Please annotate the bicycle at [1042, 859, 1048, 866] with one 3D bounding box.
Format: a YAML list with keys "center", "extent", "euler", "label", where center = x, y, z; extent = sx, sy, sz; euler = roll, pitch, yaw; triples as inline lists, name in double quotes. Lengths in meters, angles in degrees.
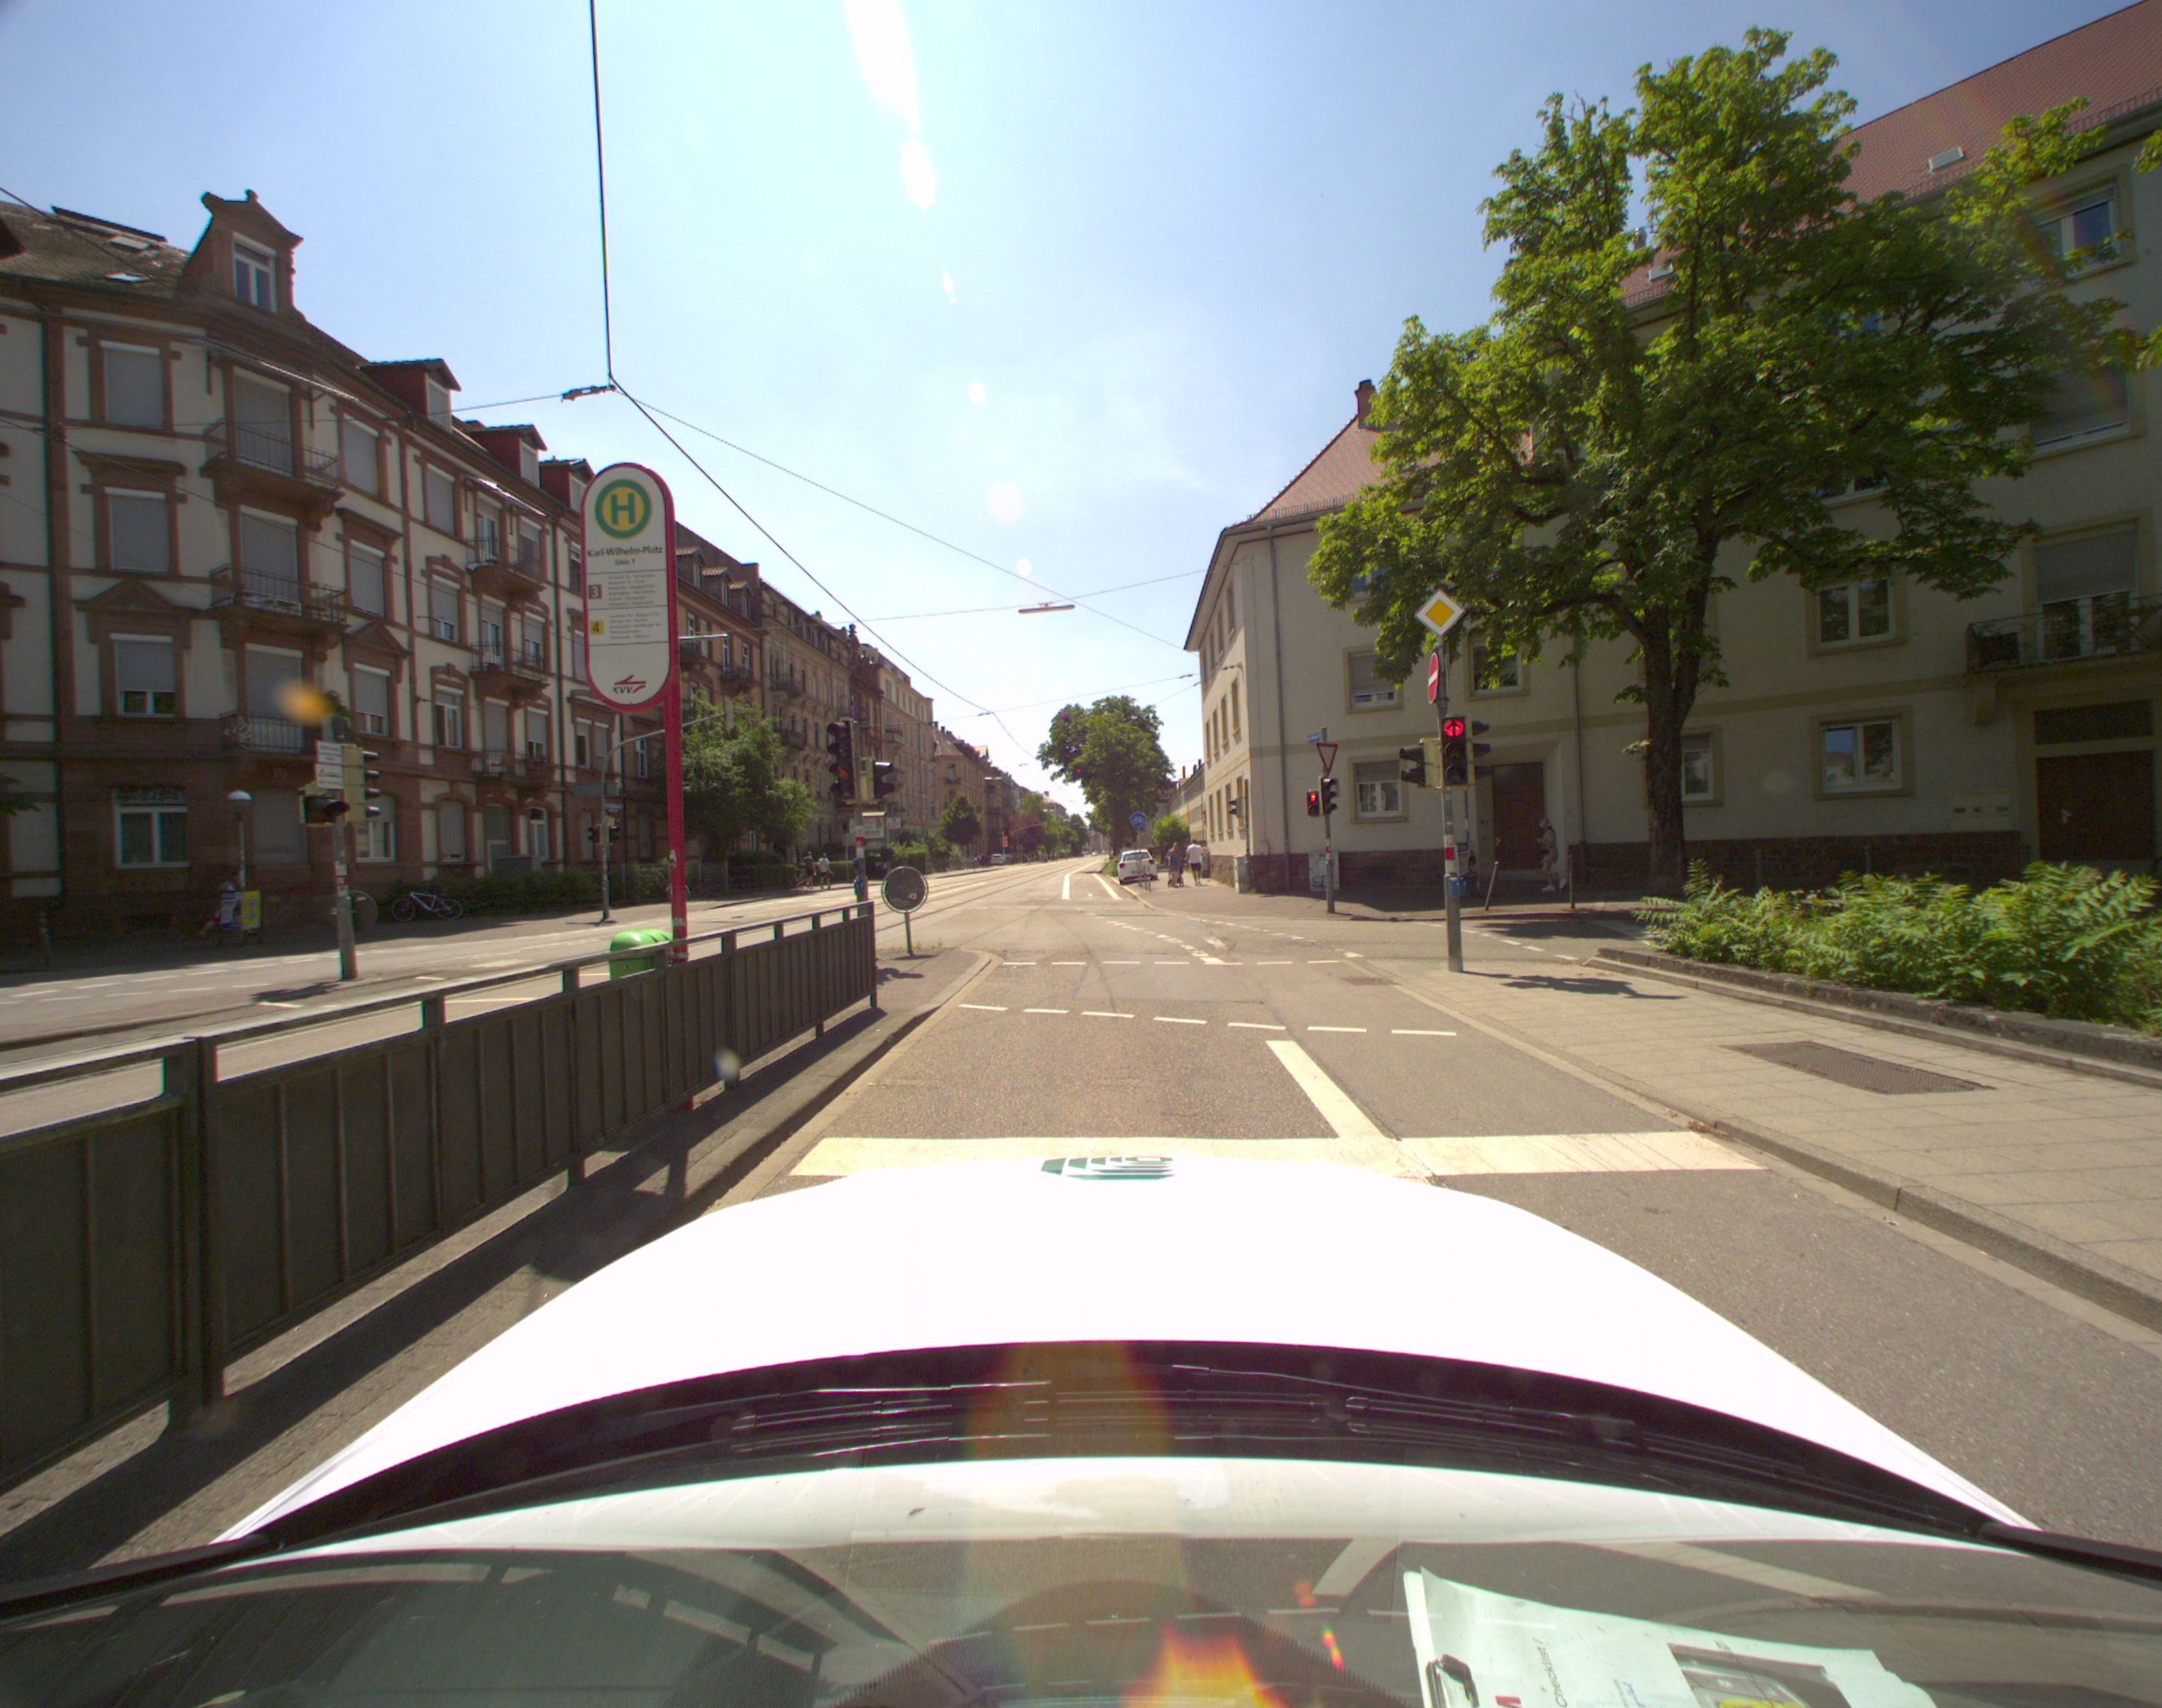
- center: [-5.838, 1.297, 131.569]
  extent: [0.724, 1.123, 2.087]
  euler: [0, -1, 4]
  label: "bicycle"

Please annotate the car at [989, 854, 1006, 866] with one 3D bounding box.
- center: [-11.886, 0.811, 116.055]
  extent: [1.912, 1.715, 4.001]
  euler: [0, -1, 2]
  label: "car"

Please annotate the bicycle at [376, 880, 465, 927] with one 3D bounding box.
- center: [-19.555, 1.442, 24.150]
  extent: [0.557, 1.294, 1.975]
  euler: [-1, -1, 43]
  label: "bicycle"

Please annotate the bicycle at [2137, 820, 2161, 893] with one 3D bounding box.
- center: [17.011, 0.023, 12.076]
  extent: [0.527, 1.104, 1.589]
  euler: [-2, 0, -34]
  label: "bicycle"

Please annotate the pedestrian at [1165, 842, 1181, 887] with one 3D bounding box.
- center: [3.364, 0.383, 29.742]
  extent: [0.554, 1.645, 0.678]
  euler: [0, -1, 5]
  label: "pedestrian"

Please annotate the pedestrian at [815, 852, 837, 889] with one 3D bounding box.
- center: [-13.010, 0.837, 41.546]
  extent: [0.813, 1.822, 0.873]
  euler: [0, 1, -1]
  label: "pedestrian"

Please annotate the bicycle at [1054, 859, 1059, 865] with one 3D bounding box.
- center: [-4.632, 1.457, 153.996]
  extent: [0.724, 1.123, 2.087]
  euler: [0, -1, 4]
  label: "bicycle"

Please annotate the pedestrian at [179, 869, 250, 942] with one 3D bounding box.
- center: [-21.313, 1.249, 20.051]
  extent: [1.067, 1.689, 0.714]
  euler: [-2, 0, -39]
  label: "pedestrian"

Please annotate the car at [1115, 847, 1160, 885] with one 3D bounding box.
- center: [2.524, 0.533, 37.399]
  extent: [1.808, 1.516, 4.001]
  euler: [-4, -1, 2]
  label: "car"

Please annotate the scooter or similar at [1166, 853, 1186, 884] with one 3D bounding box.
- center: [3.581, 0.548, 30.643]
  extent: [0.552, 1.155, 1.210]
  euler: [-1, -1, 17]
  label: "scooter or similar"

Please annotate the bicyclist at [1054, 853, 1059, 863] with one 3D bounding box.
- center: [-4.634, 0.780, 154.061]
  extent: [0.724, 1.818, 1.080]
  euler: [0, -1, 3]
  label: "bicyclist"

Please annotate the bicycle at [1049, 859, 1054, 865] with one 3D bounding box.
- center: [-5.633, 1.456, 154.180]
  extent: [0.724, 1.123, 2.087]
  euler: [0, -1, 4]
  label: "bicycle"

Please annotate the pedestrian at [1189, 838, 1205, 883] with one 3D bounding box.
- center: [4.266, 0.247, 30.007]
  extent: [0.554, 1.645, 0.678]
  euler: [0, -1, 5]
  label: "pedestrian"

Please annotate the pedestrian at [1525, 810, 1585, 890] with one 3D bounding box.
- center: [10.864, -0.083, 18.691]
  extent: [1.044, 1.690, 0.658]
  euler: [-6, 3, 30]
  label: "pedestrian"

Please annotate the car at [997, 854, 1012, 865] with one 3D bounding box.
- center: [-11.666, 0.875, 124.319]
  extent: [1.912, 1.715, 4.001]
  euler: [0, -1, 2]
  label: "car"

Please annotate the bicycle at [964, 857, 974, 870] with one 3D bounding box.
- center: [-11.713, 0.958, 85.126]
  extent: [0.675, 1.278, 1.918]
  euler: [-2, 0, -1]
  label: "bicycle"

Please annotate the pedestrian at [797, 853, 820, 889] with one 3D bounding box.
- center: [-13.853, 0.850, 41.420]
  extent: [0.813, 1.822, 0.873]
  euler: [0, 1, -1]
  label: "pedestrian"

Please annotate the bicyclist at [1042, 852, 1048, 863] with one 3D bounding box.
- center: [-5.819, 0.643, 131.717]
  extent: [0.724, 1.768, 1.080]
  euler: [0, -1, 3]
  label: "bicyclist"

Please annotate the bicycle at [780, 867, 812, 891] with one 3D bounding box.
- center: [-14.390, 1.257, 41.247]
  extent: [0.936, 1.136, 2.767]
  euler: [0, -1, -7]
  label: "bicycle"

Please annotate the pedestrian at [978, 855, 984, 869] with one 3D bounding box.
- center: [-11.539, 0.920, 93.977]
  extent: [0.519, 1.659, 0.529]
  euler: [-2, 0, 1]
  label: "pedestrian"

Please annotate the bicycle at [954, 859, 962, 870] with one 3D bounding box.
- center: [-12.157, 1.031, 80.489]
  extent: [0.677, 1.064, 1.912]
  euler: [-2, 0, -9]
  label: "bicycle"

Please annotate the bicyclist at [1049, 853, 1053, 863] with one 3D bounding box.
- center: [-5.649, 0.794, 154.194]
  extent: [0.724, 1.818, 1.080]
  euler: [0, -1, 3]
  label: "bicyclist"

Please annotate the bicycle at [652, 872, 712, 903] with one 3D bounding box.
- center: [-15.670, 1.304, 32.072]
  extent: [0.934, 1.136, 2.774]
  euler: [0, -1, 1]
  label: "bicycle"

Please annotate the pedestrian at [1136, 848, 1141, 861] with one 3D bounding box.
- center: [6.655, 0.055, 94.154]
  extent: [0.519, 1.562, 0.573]
  euler: [-2, 0, 1]
  label: "pedestrian"

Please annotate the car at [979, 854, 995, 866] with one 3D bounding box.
- center: [-14.338, 0.896, 124.457]
  extent: [1.912, 1.715, 4.001]
  euler: [0, -1, 2]
  label: "car"
